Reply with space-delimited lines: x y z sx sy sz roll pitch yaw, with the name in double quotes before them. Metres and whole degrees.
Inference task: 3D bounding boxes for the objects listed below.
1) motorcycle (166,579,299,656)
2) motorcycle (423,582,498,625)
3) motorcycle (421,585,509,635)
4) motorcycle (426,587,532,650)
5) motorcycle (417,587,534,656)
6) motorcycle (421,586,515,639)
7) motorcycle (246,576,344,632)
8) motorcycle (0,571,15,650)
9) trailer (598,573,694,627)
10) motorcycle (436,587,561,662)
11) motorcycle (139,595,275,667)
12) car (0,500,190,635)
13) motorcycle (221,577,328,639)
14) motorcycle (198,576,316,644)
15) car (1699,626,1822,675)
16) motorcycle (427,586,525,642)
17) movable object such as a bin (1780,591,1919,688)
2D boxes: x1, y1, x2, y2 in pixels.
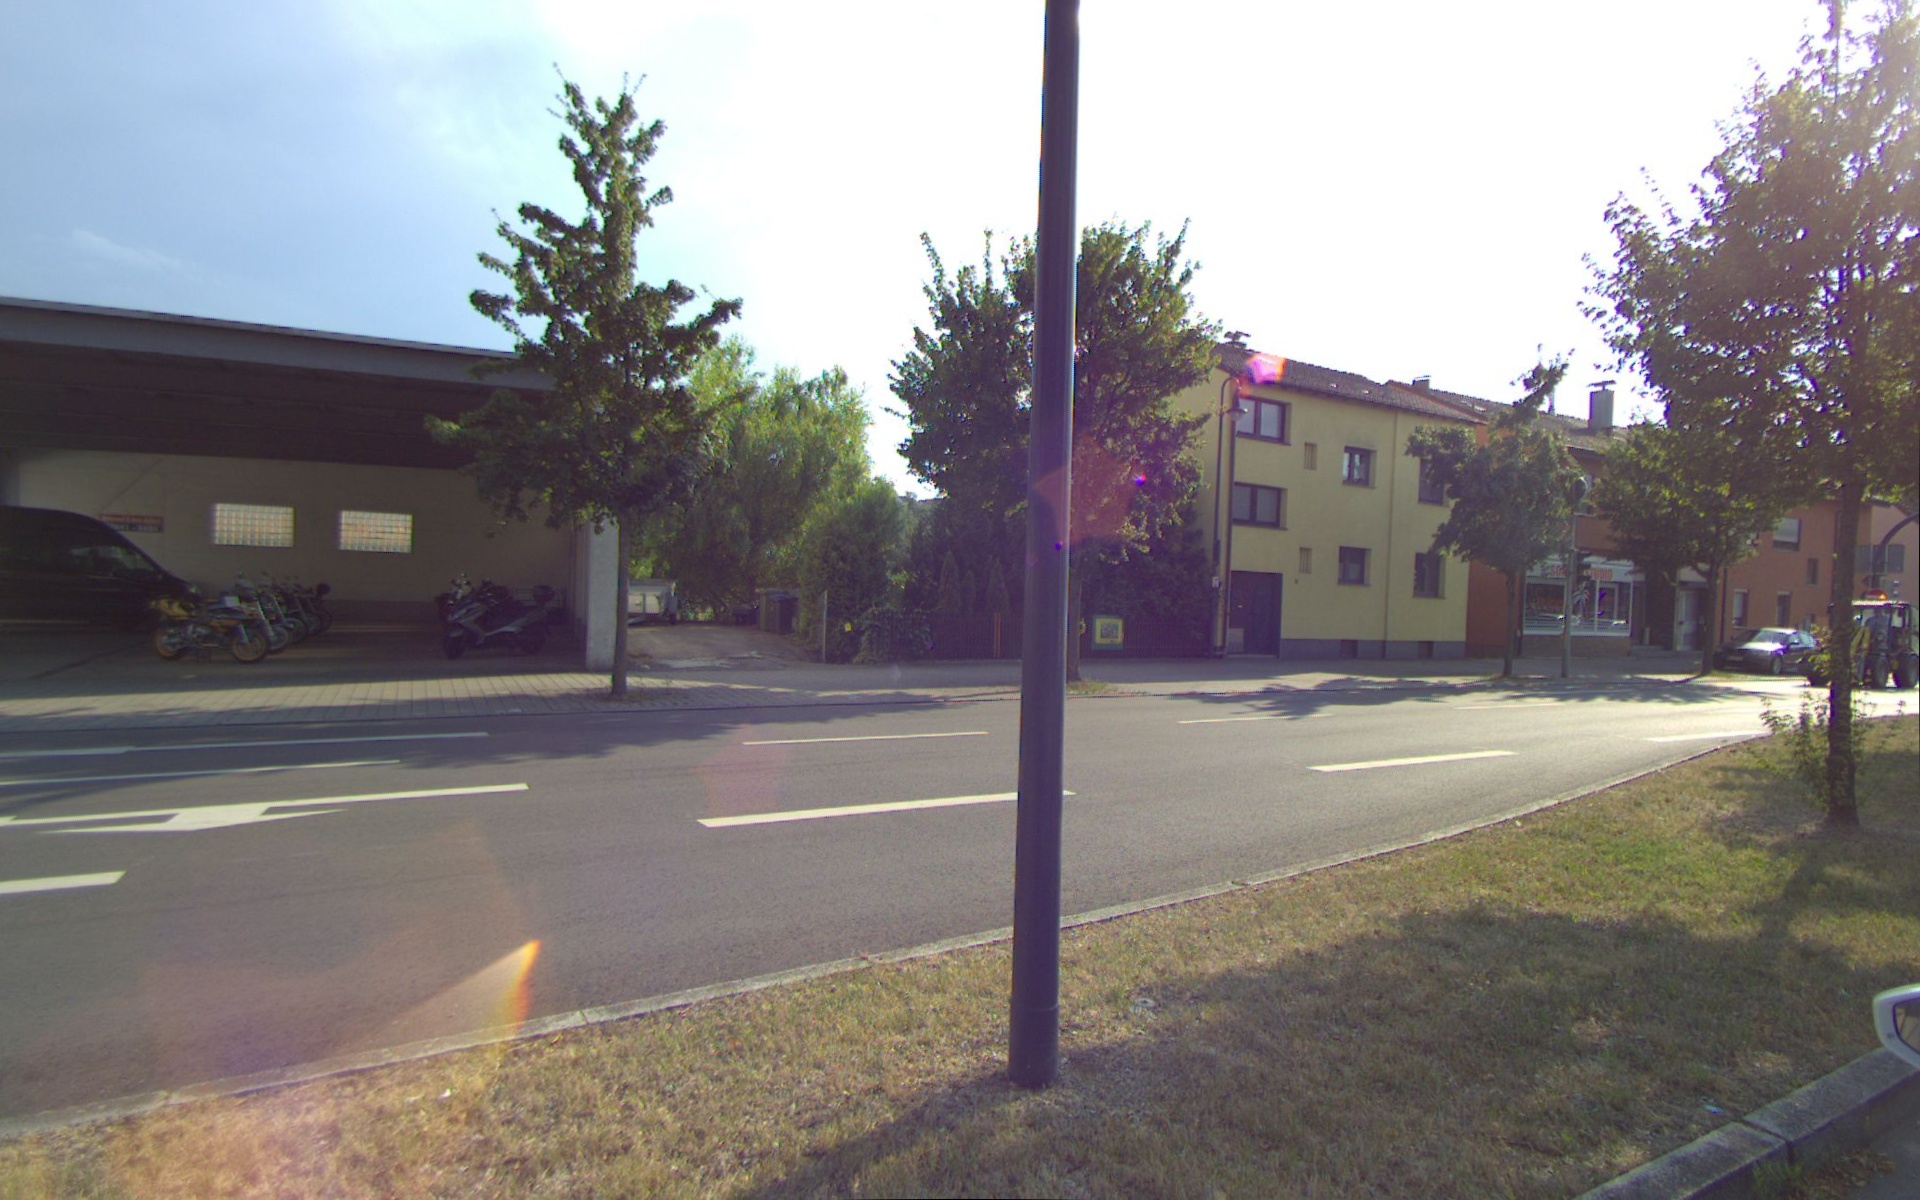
"motorcycle" -13.644 0.316 18.853 2.219 1.354 0.631 1 0 10
"motorcycle" -15.972 0.100 32.168 0.621 1.314 2.113 1 2 36
"motorcycle" -13.525 0.238 27.510 0.621 1.314 2.113 1 2 36
"motorcycle" -10.754 0.381 22.528 0.621 1.314 2.113 1 2 36
"motorcycle" -9.824 0.399 20.451 0.621 1.314 2.113 1 2 36
"motorcycle" -12.661 0.290 25.912 0.621 1.314 2.113 1 2 36
"motorcycle" -16.921 0.100 25.564 2.219 1.354 0.631 1 0 10
"motorcycle" -17.299 0.166 16.716 0.619 1.380 2.225 1 0 24
"trailer" -8.229 -0.008 26.609 1.698 1.280 3.995 1 0 -7
"motorcycle" -8.631 0.427 18.889 0.621 1.314 2.113 1 2 36
"motorcycle" -12.508 0.500 16.688 1.993 1.101 0.631 1 0 12
"car" -20.465 -0.684 22.083 1.962 2.789 5.280 1 0 26
"motorcycle" -15.897 0.179 23.305 2.219 1.354 0.631 1 0 10
"motorcycle" -14.765 0.202 21.096 2.219 1.354 0.631 1 0 10
"car" 25.957 1.596 32.547 3.953 1.319 1.728 1 4 -30
"motorcycle" -11.779 0.310 24.529 0.621 1.314 2.113 1 2 36
"movable object such as a bin" 24.527 1.064 27.487 4.396 2.474 1.729 2 -1 -29
